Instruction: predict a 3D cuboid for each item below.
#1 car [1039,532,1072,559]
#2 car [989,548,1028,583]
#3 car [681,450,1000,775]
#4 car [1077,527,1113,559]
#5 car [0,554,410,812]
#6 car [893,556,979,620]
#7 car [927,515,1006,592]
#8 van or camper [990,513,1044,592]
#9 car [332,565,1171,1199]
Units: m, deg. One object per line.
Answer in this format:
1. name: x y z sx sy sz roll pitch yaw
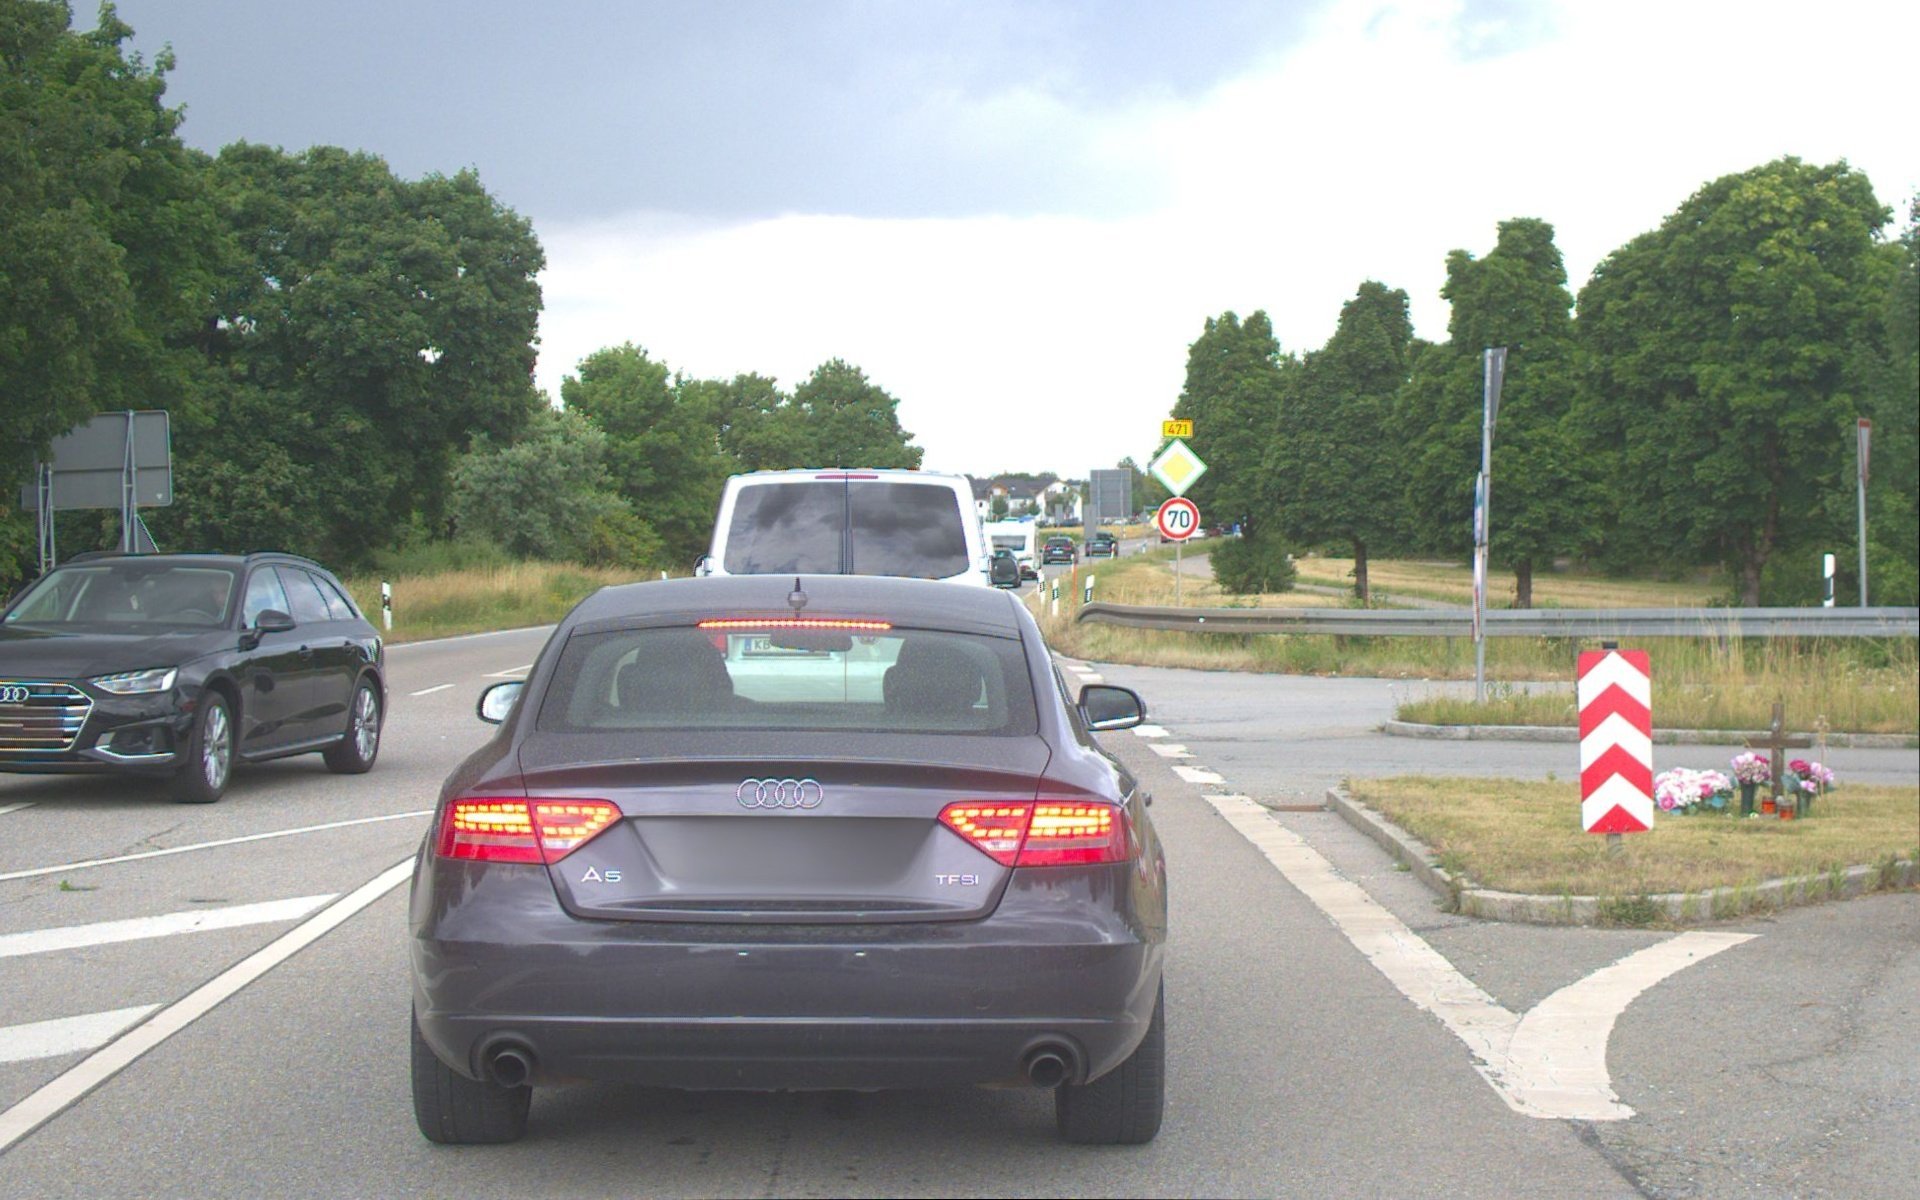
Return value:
1. car: 5.242 -3.002 188.343 1.719 1.446 4.000 1 1 1
2. car: 1.933 -1.374 135.435 1.258 1.349 3.465 0 1 5
3. car: -0.722 0.029 22.031 1.838 1.876 4.000 1 1 -1
4. car: 8.454 -3.572 215.361 1.993 2.007 4.000 0 1 -1
5. car: -4.848 0.416 20.887 1.821 1.369 4.610 0 1 6
6. car: -0.541 -0.294 80.098 1.796 1.459 3.248 0 1 3
7. car: 0.203 -1.277 94.276 1.994 2.081 4.000 0 1 2
8. van or camper: 2.574 -2.119 152.845 2.340 3.469 5.718 0 1 2
9. car: -0.470 0.627 9.362 1.783 1.372 4.000 1 1 -1
